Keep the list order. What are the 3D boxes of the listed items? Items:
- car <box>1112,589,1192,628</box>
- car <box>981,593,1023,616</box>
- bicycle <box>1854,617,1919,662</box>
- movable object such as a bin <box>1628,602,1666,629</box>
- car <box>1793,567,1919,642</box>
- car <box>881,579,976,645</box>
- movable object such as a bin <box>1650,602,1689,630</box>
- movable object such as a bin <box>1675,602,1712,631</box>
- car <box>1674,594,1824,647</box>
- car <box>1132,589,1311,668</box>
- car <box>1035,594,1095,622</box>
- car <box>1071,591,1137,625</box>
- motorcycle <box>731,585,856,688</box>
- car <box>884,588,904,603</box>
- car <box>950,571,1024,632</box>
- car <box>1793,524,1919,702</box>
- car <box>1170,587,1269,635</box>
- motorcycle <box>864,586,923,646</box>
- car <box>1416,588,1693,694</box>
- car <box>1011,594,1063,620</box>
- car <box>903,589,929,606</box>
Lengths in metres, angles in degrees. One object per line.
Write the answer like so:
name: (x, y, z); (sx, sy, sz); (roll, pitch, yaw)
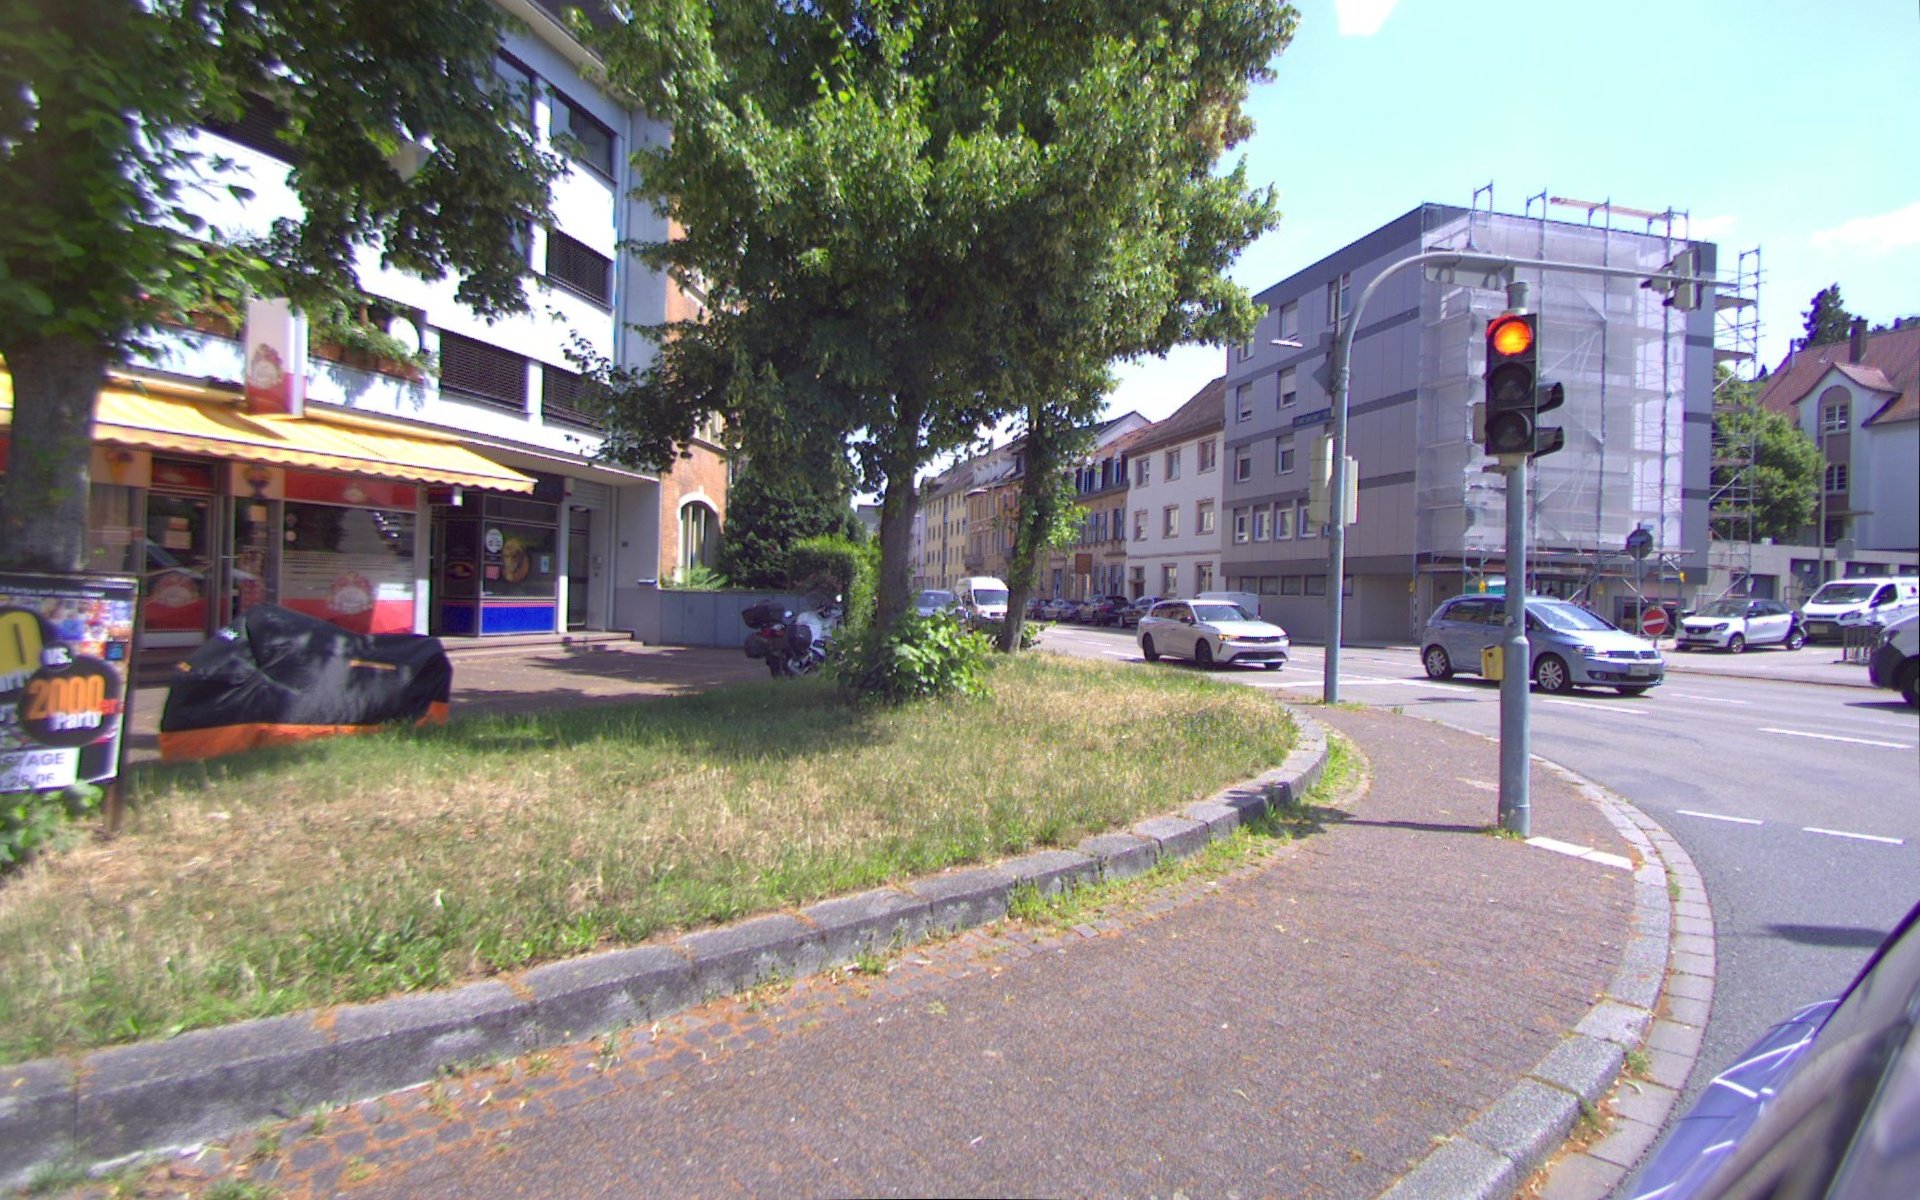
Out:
car: (9.155, 0.379, 48.681); (1.851, 1.661, 4.673); (2, 0, -15)
car: (3.072, 0.338, 74.919); (1.832, 1.444, 4.340); (5, 0, -14)
bicycle: (21.252, 0.886, 22.771); (0.390, 0.979, 1.722); (1, 0, -18)
movable object such as a bin: (24.246, 0.544, 35.737); (0.725, 0.938, 0.828); (0, 0, -12)
car: (28.712, 0.079, 31.454); (4.908, 2.038, 2.004); (-3, 1, -19)
car: (-0.741, 0.343, 27.474); (1.809, 1.568, 5.145); (2, -1, 7)
movable object such as a bin: (24.361, 0.534, 34.743); (0.725, 0.938, 0.828); (0, 0, -12)
movable object such as a bin: (24.565, 0.557, 33.911); (0.725, 0.938, 0.705); (0, 0, -12)
car: (23.545, 0.580, 30.228); (3.661, 1.465, 1.762); (0, 0, -17)
car: (5.610, 0.555, 22.379); (1.866, 1.516, 4.497); (1, 1, -14)
car: (6.294, 0.472, 61.237); (1.831, 1.424, 4.848); (5, 0, -16)
car: (7.654, 0.403, 54.387); (1.851, 1.661, 4.827); (3, 0, -13)
motorcycle: (-2.300, 0.458, 14.300); (0.905, 1.329, 2.214); (0, 0, 16)
car: (-7.644, -0.517, 117.644); (1.718, 1.608, 3.950); (5, 0, 2)
car: (1.005, 0.006, 41.313); (1.867, 2.303, 5.682); (1, 1, -10)
car: (15.241, 0.246, 12.598); (2.176, 2.532, 7.570); (2, 0, -16)
car: (10.835, 0.412, 42.649); (1.879, 1.848, 4.799); (2, 0, -15)
motorcycle: (-1.519, 0.373, 23.635); (0.917, 1.319, 2.275); (2, -1, 8)
car: (9.897, 0.592, 17.240); (1.723, 1.588, 4.008); (1, 0, -15)
car: (5.027, 0.428, 66.692); (1.831, 1.424, 4.340); (5, 0, -17)
car: (-4.660, -0.238, 106.480); (1.832, 1.571, 4.322); (5, 0, -14)
